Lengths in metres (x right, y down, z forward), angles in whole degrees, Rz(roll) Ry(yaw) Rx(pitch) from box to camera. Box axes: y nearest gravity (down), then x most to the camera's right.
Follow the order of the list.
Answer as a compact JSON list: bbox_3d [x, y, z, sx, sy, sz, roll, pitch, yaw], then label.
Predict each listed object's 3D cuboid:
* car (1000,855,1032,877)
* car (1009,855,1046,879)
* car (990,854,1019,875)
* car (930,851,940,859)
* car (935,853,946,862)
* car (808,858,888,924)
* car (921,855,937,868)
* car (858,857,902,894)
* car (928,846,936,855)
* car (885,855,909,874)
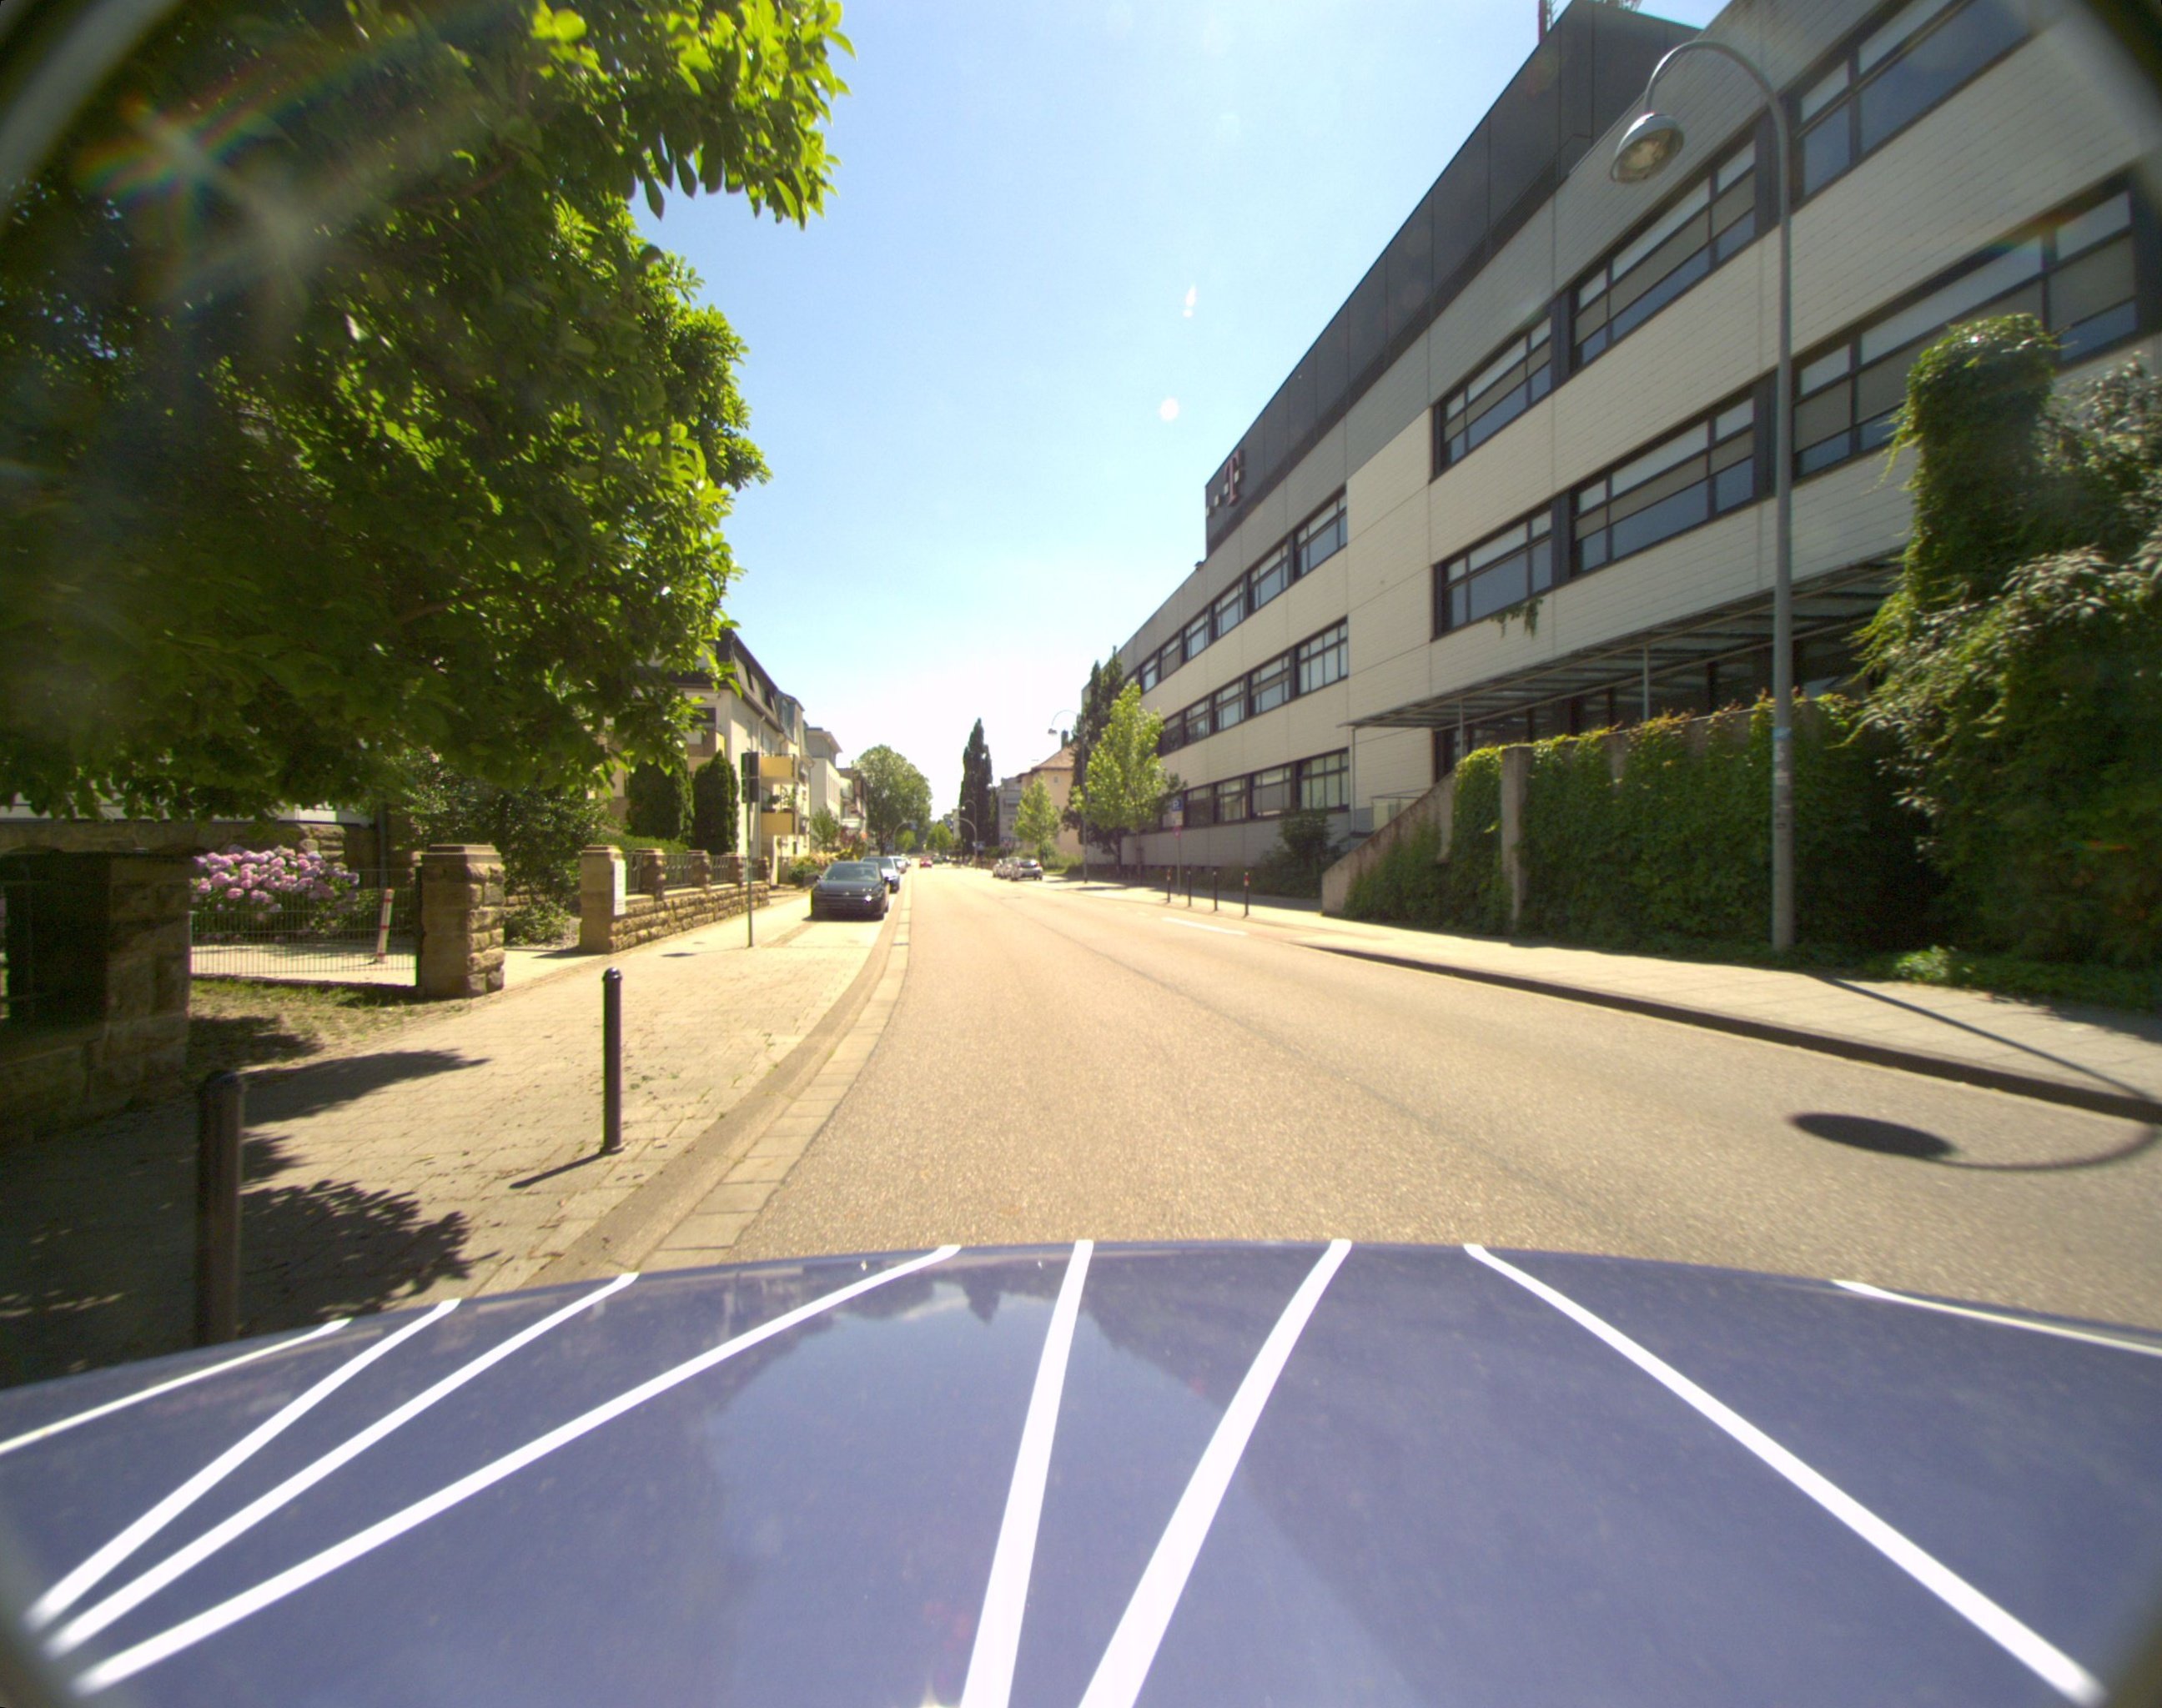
[{"bbox_3d":[-4.730,0.826,55.225,1.747,1.494,3.729,-1,1,-14],"label":"car"},{"bbox_3d":[-3.551,0.829,50.141,1.737,1.441,4.025,-2,1,-14],"label":"car"},{"bbox_3d":[-6.064,0.794,59.843,1.776,1.532,3.995,0,0,-14],"label":"car"},{"bbox_3d":[-31.607,0.183,164.754,2.000,1.622,3.996,-2,1,-11],"label":"car"},{"bbox_3d":[-26.625,0.680,143.735,1.831,1.619,3.996,-2,1,-11],"label":"car"},{"bbox_3d":[-6.040,0.885,20.045,1.776,1.532,3.995,1,0,-14],"label":"car"},{"bbox_3d":[-21.417,1.067,106.703,1.849,1.649,3.994,-2,1,-15],"label":"car"},{"bbox_3d":[-9.078,0.941,34.536,1.776,1.532,3.995,1,0,-14],"label":"car"},{"bbox_3d":[-39.972,-0.903,203.638,2.013,2.364,3.996,-2,1,-10],"label":"car"},{"bbox_3d":[-17.375,0.917,71.629,2.001,1.613,3.994,-2,1,-15],"label":"car"}]
